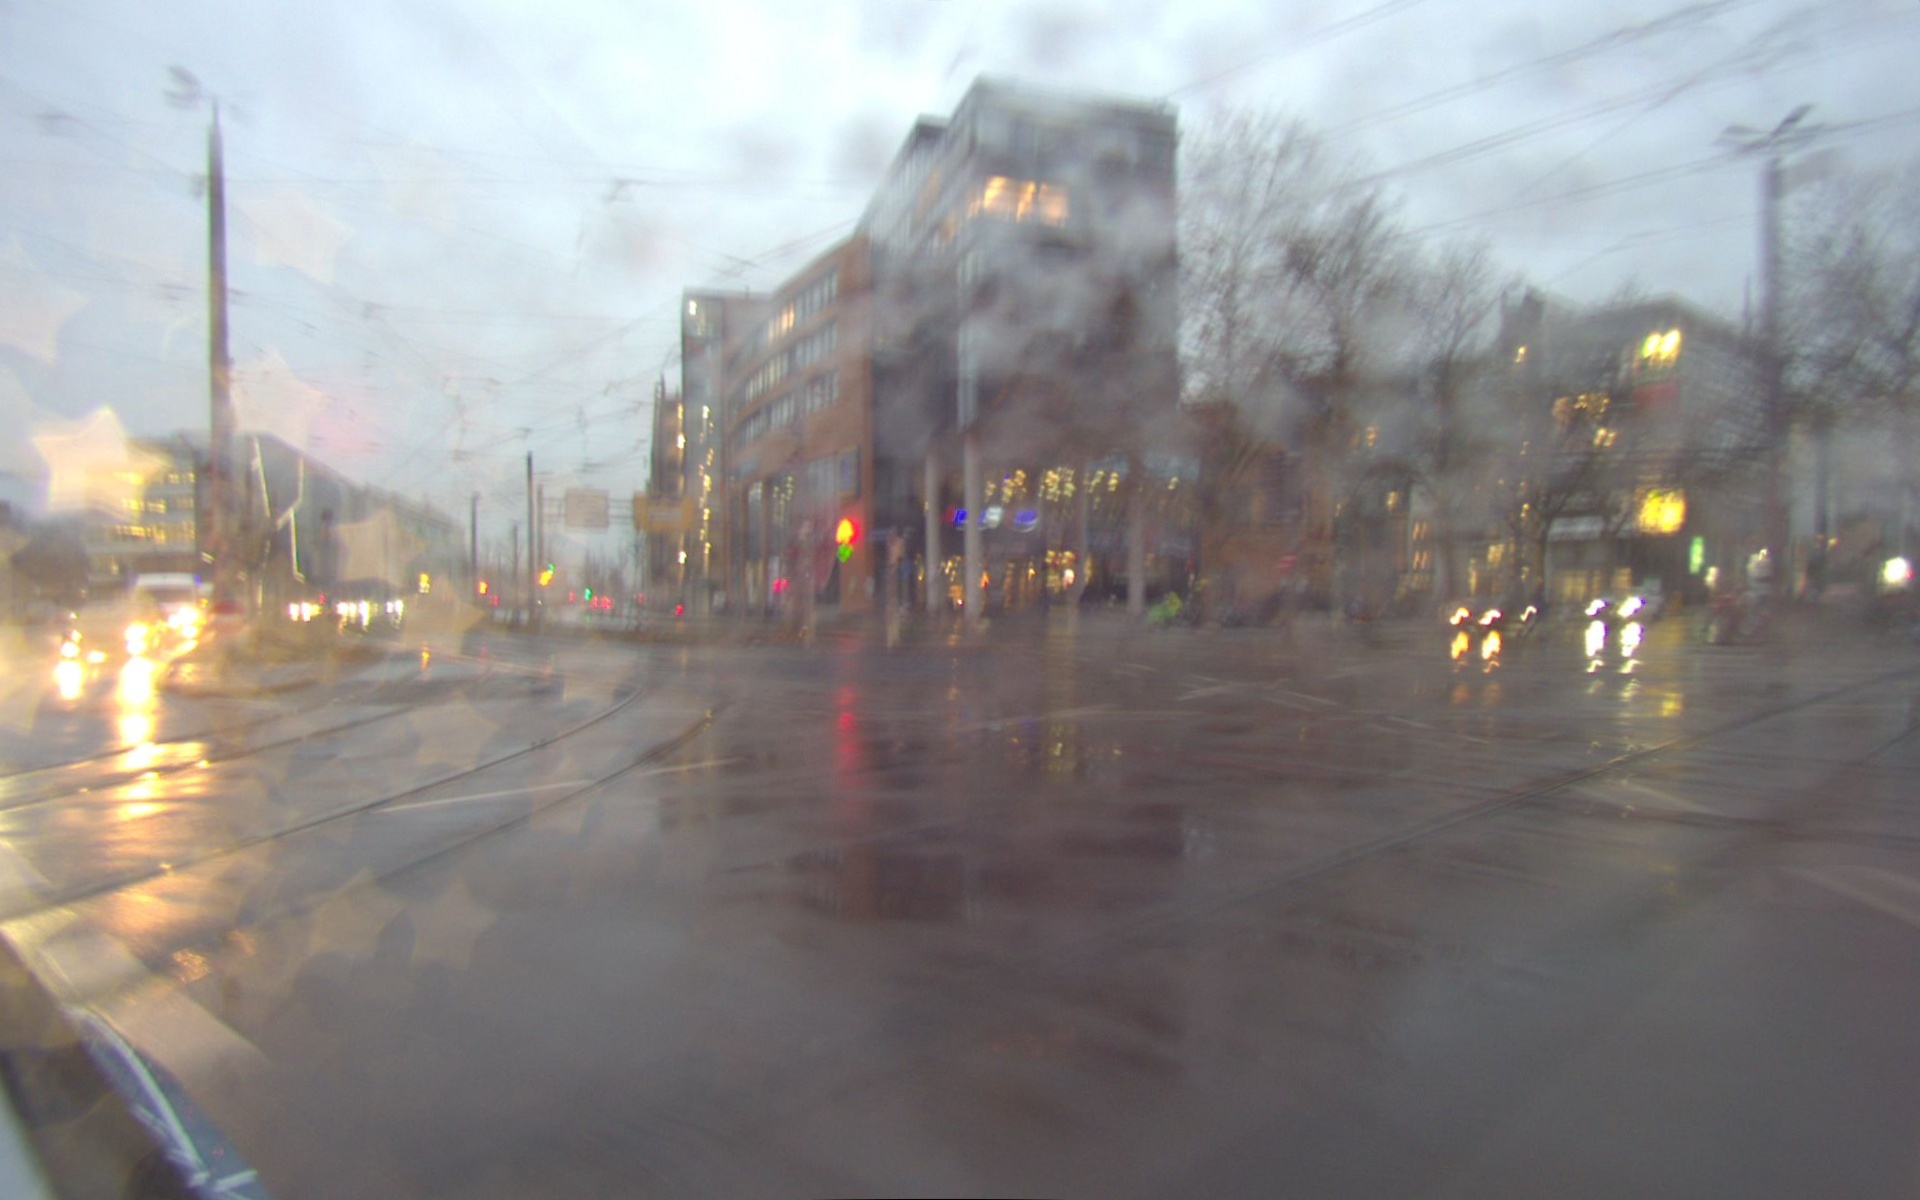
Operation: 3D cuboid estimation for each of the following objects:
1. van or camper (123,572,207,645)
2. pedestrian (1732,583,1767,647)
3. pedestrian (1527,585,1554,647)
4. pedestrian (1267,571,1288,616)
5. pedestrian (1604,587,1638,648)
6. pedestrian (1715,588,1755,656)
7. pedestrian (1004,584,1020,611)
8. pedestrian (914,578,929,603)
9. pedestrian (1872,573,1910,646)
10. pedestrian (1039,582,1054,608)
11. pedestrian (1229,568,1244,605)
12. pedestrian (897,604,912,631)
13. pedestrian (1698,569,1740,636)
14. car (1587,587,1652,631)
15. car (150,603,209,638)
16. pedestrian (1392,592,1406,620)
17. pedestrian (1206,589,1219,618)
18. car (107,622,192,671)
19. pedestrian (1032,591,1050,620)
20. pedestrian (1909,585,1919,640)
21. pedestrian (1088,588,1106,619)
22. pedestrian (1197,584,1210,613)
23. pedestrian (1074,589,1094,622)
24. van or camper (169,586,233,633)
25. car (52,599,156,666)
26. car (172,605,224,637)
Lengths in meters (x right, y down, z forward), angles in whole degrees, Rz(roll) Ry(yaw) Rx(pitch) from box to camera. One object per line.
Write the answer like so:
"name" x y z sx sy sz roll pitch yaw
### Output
"van or camper" -30.474 0.281 38.962 2.028 2.567 5.901 -3 1 -34
"pedestrian" 24.512 0.466 31.409 0.520 1.973 0.670 -1 0 -23
"pedestrian" 19.465 0.524 33.943 0.756 2.029 0.700 0 0 30
"pedestrian" 14.555 -0.306 46.413 0.756 2.029 0.700 0 0 30
"pedestrian" 22.098 0.578 33.842 0.700 2.029 0.774 0 0 12
"pedestrian" 23.301 0.649 30.423 0.695 2.029 0.761 0 0 -34
"pedestrian" 3.310 -0.153 64.662 0.681 1.721 0.929 0 -1 -24
"pedestrian" -2.360 -0.582 61.916 0.641 1.514 0.696 0 -1 -27
"pedestrian" 26.398 0.262 28.697 0.747 2.029 0.708 0 0 -42
"pedestrian" 5.216 -0.295 61.108 0.641 1.514 0.696 0 -1 -27
"pedestrian" 12.888 -0.611 47.111 0.593 1.696 0.558 -1 0 21
"pedestrian" -2.616 0.832 47.879 0.439 1.274 0.497 -3 1 -40
"pedestrian" 23.576 0.075 31.451 0.695 2.029 0.762 0 0 -20
"car" 33.341 0.434 51.142 4.016 2.153 1.922 0 0 -44
"car" -34.411 0.871 44.712 1.796 1.409 3.962 -3 1 -35
"pedestrian" 26.949 0.393 62.118 0.588 1.696 0.562 -1 0 -40
"pedestrian" 15.245 0.226 61.159 0.643 1.764 0.447 -1 0 -36
"car" -26.086 1.449 32.699 1.796 1.342 4.236 -3 1 -35
"pedestrian" 4.610 0.314 57.577 0.729 1.669 0.696 0 -1 -27
"pedestrian" 27.253 0.343 28.530 0.511 1.549 0.577 -1 0 -27
"pedestrian" 7.857 0.195 58.111 0.715 1.721 0.696 0 0 -27
"pedestrian" 14.806 -0.088 61.477 0.643 1.764 0.447 -1 0 -36
"pedestrian" 7.080 0.299 57.906 0.762 1.859 0.925 0 -1 -26
"van or camper" -41.168 0.499 54.994 2.150 2.370 5.666 -3 1 -31
"car" -21.855 0.781 25.972 1.658 1.584 3.770 -1 0 -34
"car" -37.212 0.997 49.475 1.796 1.409 3.962 -3 1 -35
